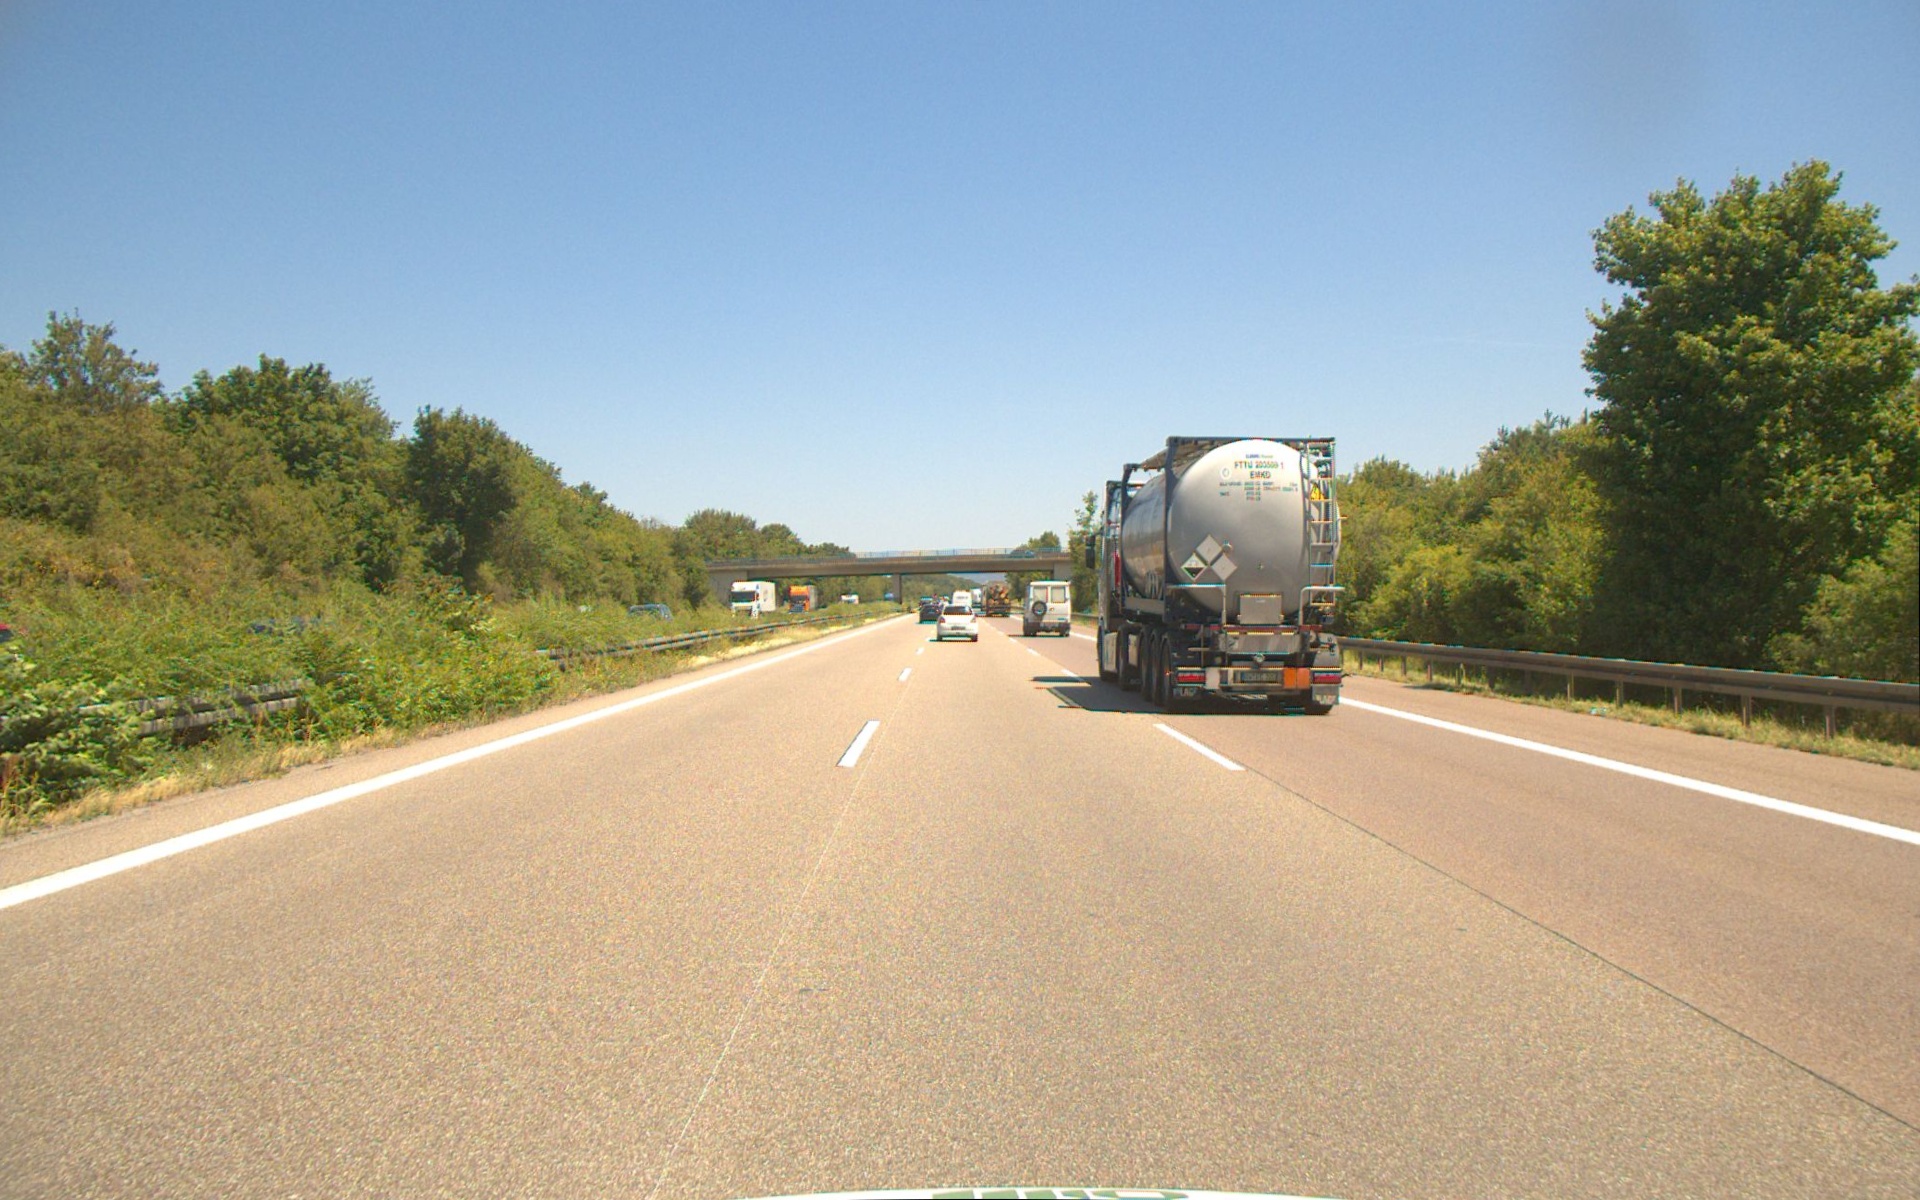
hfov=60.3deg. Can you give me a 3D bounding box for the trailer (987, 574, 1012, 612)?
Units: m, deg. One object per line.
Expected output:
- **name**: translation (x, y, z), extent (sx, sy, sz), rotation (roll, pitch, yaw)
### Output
- **trailer**: translation (4.301, -0.746, 180.964), extent (2.598, 4.028, 13.637), rotation (0, 0, 1)

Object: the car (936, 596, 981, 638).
- **car**: translation (-0.078, 0.699, 69.325), extent (1.819, 1.681, 3.999), rotation (1, 0, -1)

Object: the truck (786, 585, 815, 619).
- **truck**: translation (-20.466, 0.299, 212.233), extent (3.073, 4.305, 5.176), rotation (1, 0, 0)

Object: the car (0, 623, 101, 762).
- **car**: translation (-15.486, 1.412, 25.802), extent (1.953, 2.049, 4.175), rotation (1, 0, 0)

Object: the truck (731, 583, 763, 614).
- **truck**: translation (-20.596, -0.100, 160.156), extent (2.289, 2.942, 4.863), rotation (1, 0, 1)

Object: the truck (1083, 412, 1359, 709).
- **truck**: translation (4.153, -0.531, 29.860), extent (2.741, 4.117, 13.352), rotation (1, 0, 0)

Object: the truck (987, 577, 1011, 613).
- **truck**: translation (4.415, -0.564, 188.233), extent (2.615, 4.064, 6.636), rotation (0, 0, 1)

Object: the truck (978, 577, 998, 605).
- **truck**: translation (4.518, -1.351, 261.245), extent (3.015, 4.283, 16.845), rotation (1, 0, 1)

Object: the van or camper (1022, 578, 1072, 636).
- **van or camper**: translation (4.268, 0.329, 81.938), extent (2.070, 2.750, 6.366), rotation (0, 0, 0)

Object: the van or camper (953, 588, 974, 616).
- **van or camper**: translation (0.358, 0.196, 161.626), extent (2.016, 2.668, 5.985), rotation (0, 0, 1)
